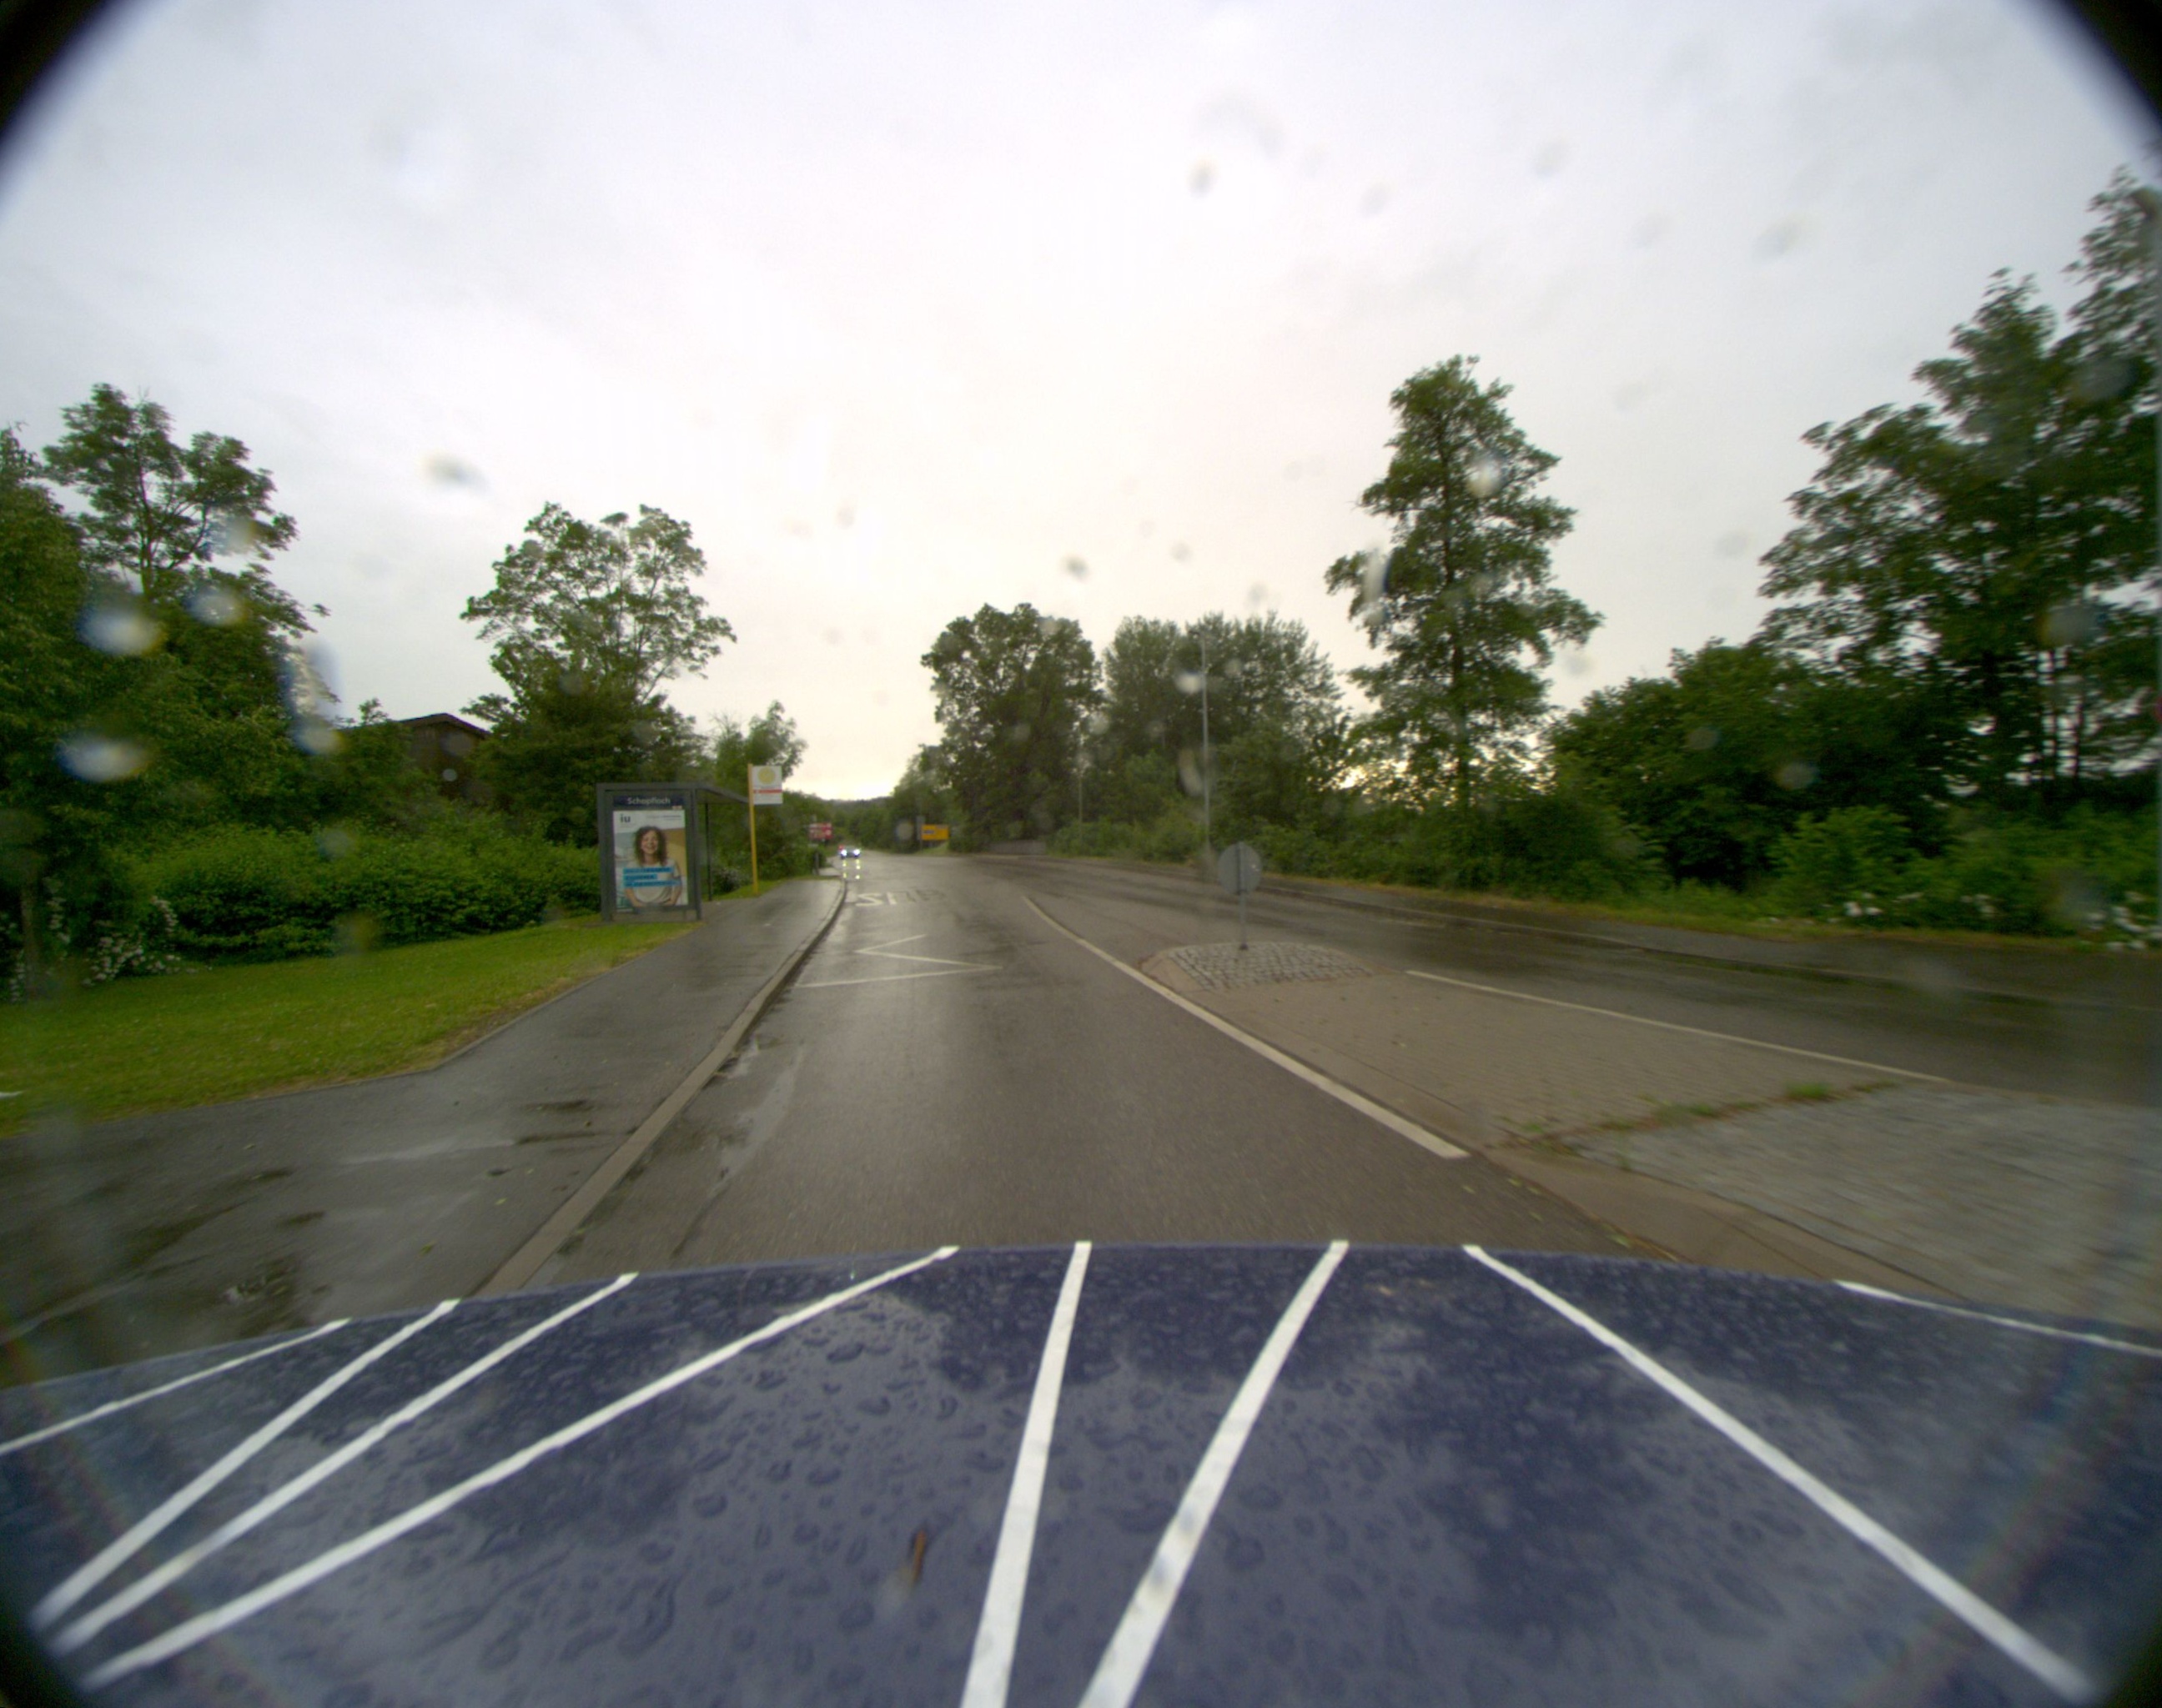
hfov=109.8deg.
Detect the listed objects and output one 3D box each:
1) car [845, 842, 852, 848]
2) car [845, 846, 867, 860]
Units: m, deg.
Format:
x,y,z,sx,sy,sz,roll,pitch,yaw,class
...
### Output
x,y,z,sx,sy,sz,roll,pitch,yaw,class
-68.915,-2.691,224.771,1.836,1.515,3.994,-3,2,-16,car
-25.106,-0.143,84.790,1.857,1.481,4.116,-2,2,-11,car
